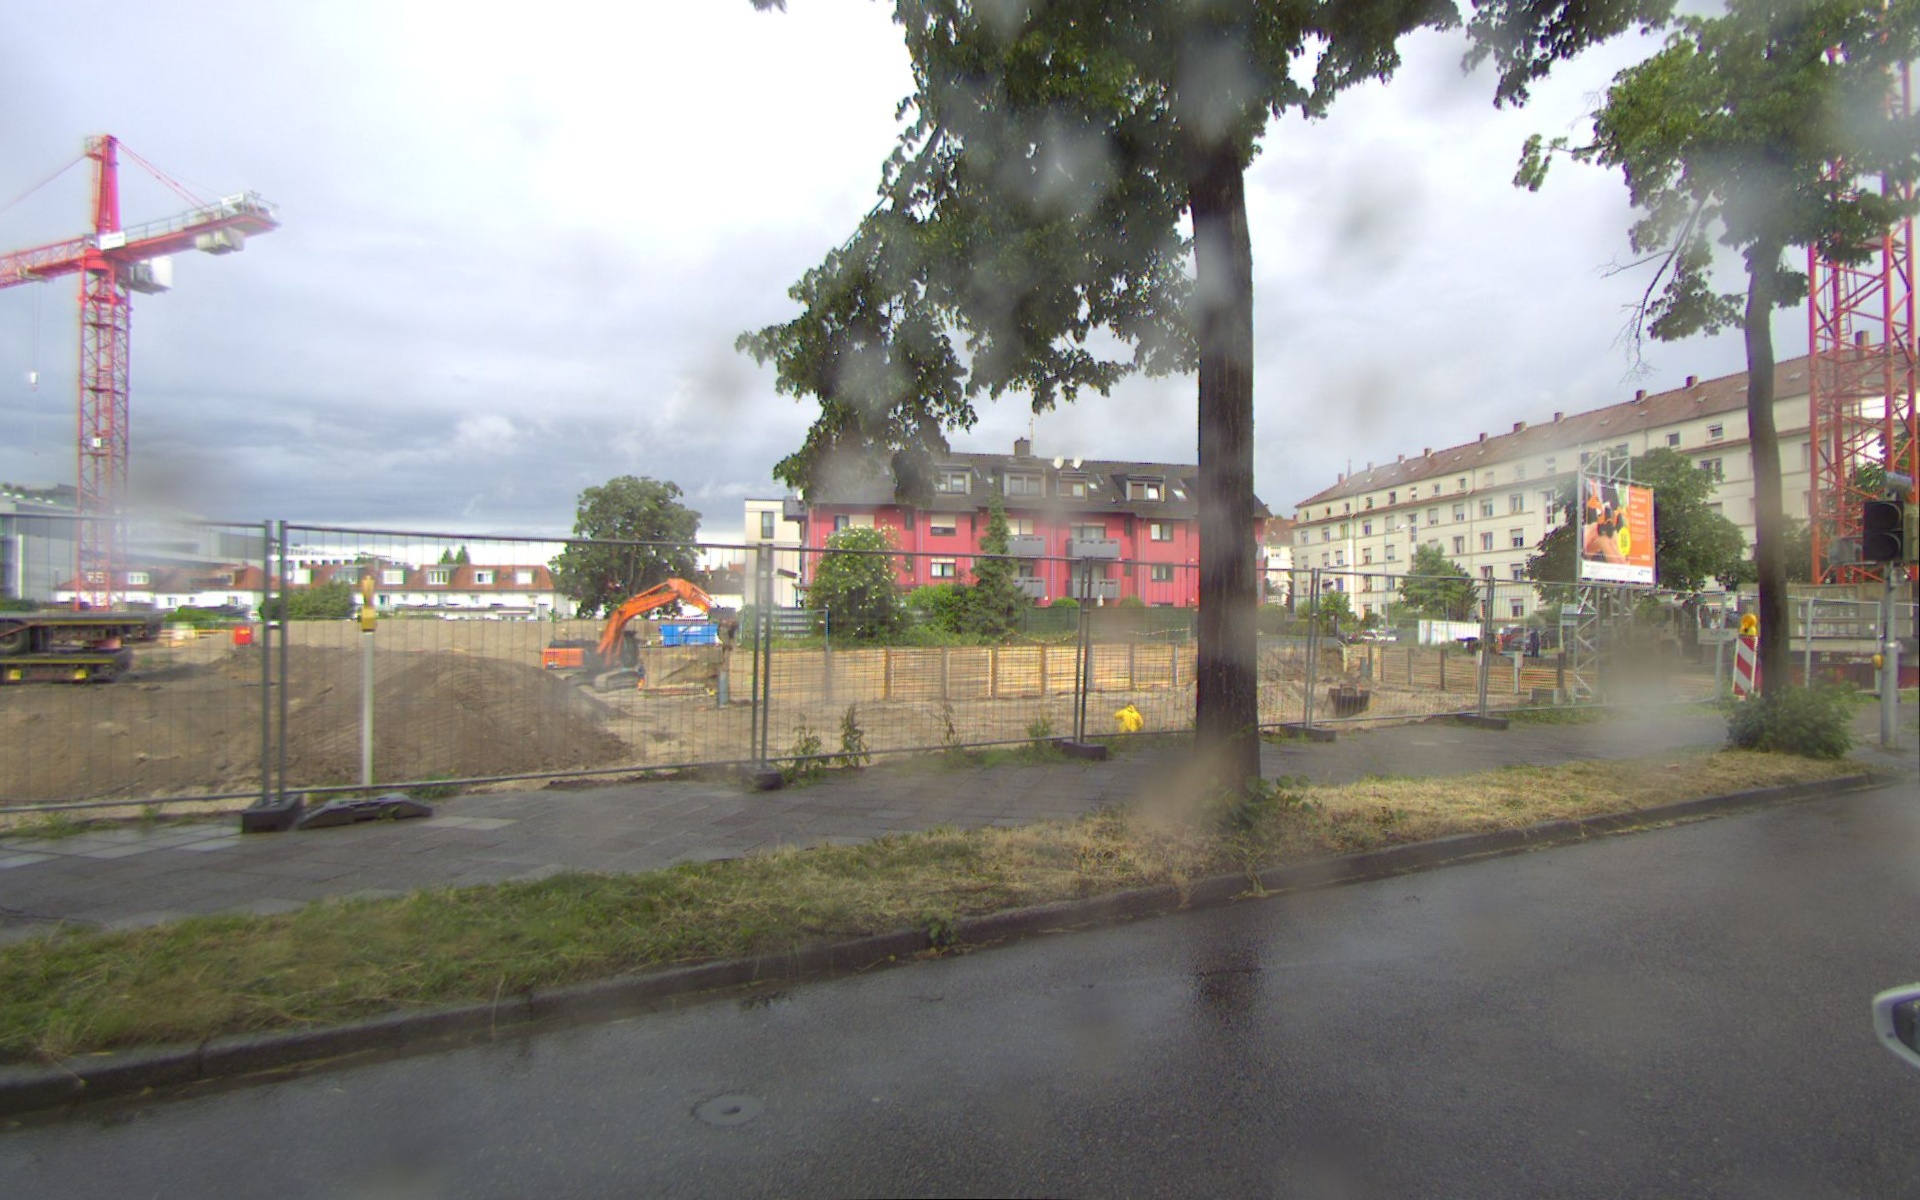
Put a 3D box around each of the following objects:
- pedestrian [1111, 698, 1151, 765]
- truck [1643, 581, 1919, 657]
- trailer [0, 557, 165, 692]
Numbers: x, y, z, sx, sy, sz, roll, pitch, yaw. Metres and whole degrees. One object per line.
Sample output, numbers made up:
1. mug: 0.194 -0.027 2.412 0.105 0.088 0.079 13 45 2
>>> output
1. pedestrian: 4.534 3.486 26.684 0.837 1.706 0.585 1 -4 -25
2. truck: 38.552 0.989 47.888 3.730 3.226 9.814 0 -2 -16
3. trailer: -27.987 0.444 23.678 14.146 3.276 2.945 2 2 -31
